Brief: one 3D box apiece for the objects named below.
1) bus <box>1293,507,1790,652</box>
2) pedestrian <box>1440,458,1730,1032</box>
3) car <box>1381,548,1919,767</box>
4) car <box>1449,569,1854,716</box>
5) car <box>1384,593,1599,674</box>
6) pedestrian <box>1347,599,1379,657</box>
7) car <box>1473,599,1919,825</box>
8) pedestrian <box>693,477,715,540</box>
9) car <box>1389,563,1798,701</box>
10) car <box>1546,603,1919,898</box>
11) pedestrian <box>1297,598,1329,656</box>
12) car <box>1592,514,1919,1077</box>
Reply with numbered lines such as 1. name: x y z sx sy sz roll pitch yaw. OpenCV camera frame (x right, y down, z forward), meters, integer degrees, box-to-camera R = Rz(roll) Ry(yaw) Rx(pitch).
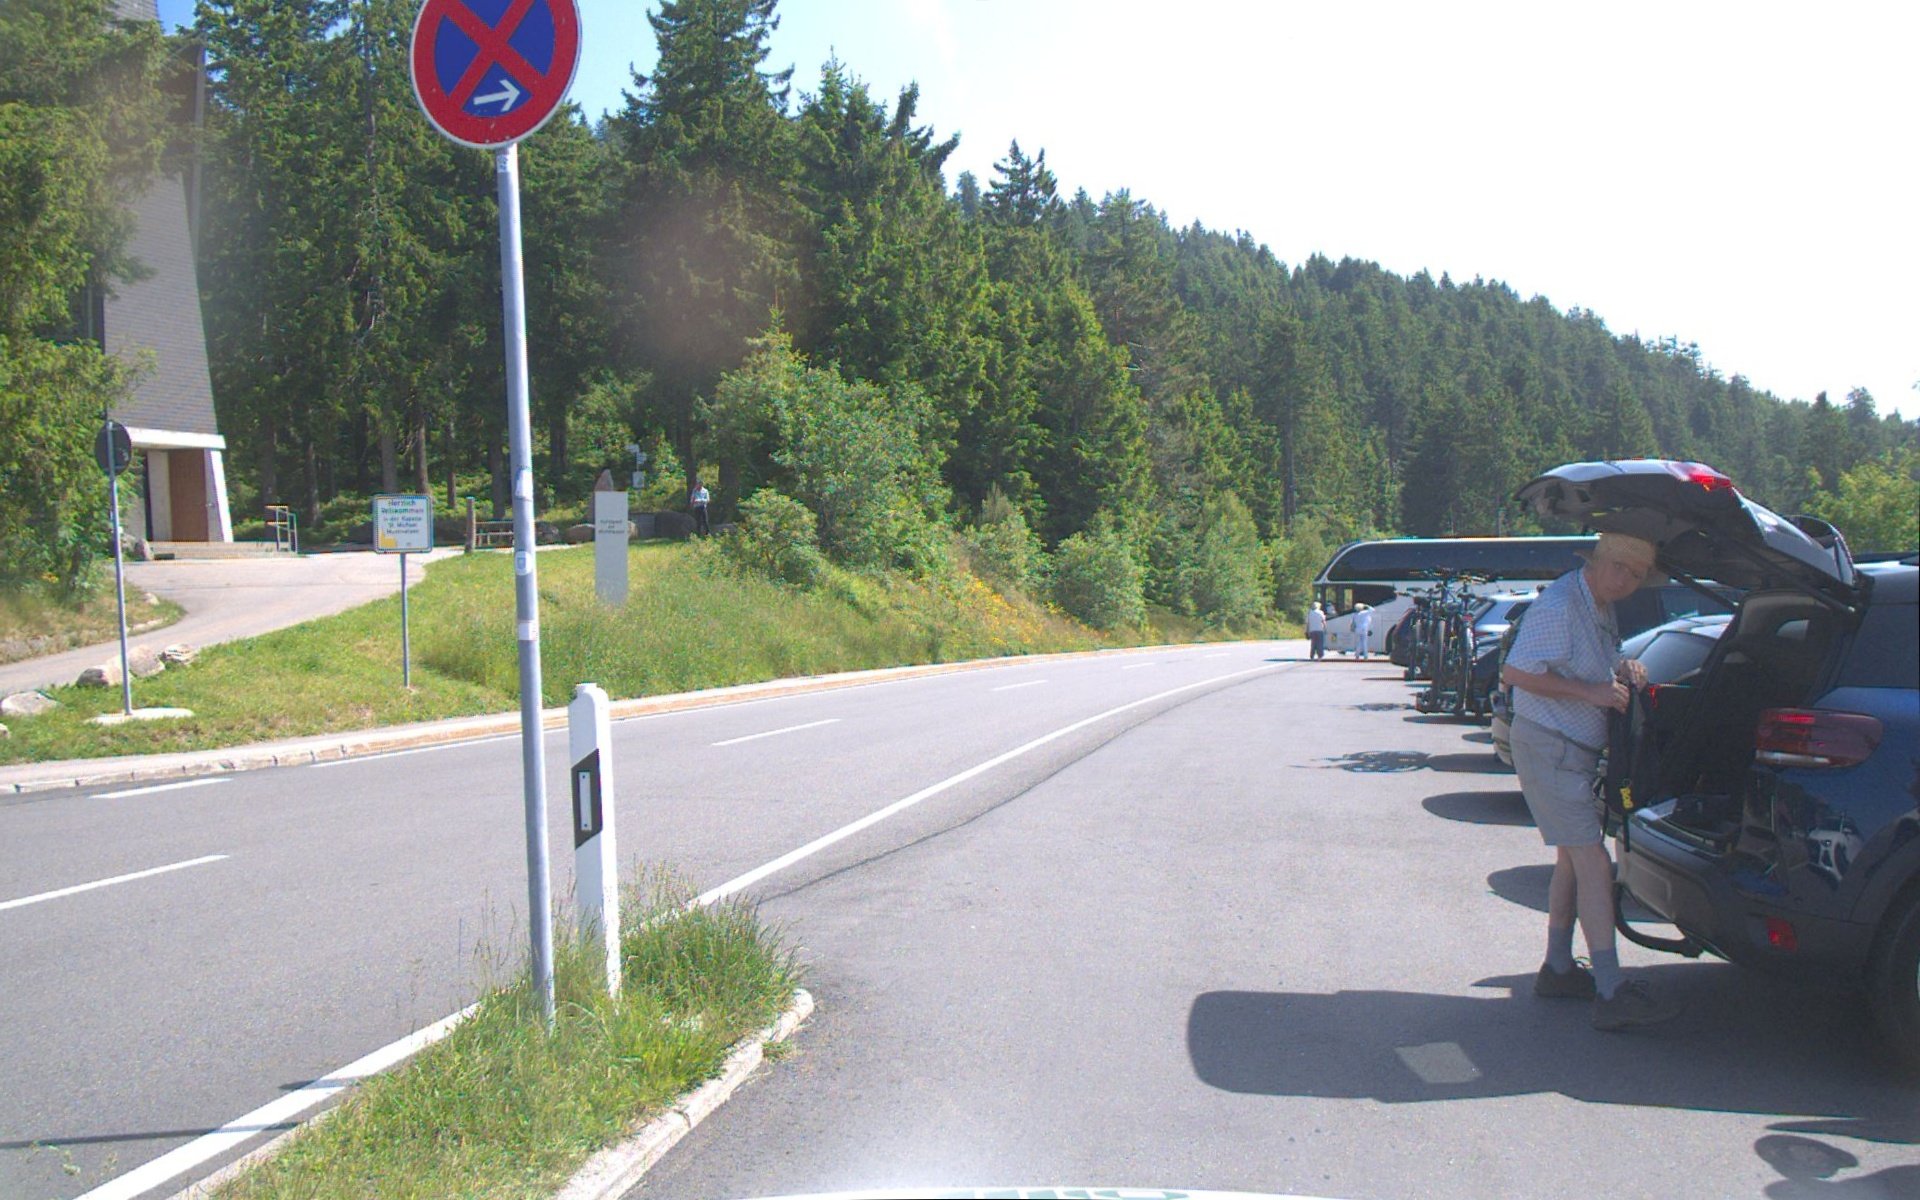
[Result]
1. bus: 16.190 -0.457 46.833 12.830 3.594 3.042 -2 0 24
2. pedestrian: 2.264 0.462 5.993 0.725 1.903 0.753 2 3 44
3. car: 6.196 0.476 14.378 4.844 1.725 1.946 -1 0 16
4. car: 8.027 0.499 19.603 4.153 1.581 1.839 -2 0 14
5. car: 10.478 0.655 32.883 3.902 1.474 1.862 -2 0 14
6. pedestrian: 11.404 0.782 46.785 0.754 1.613 0.772 -2 -1 20
7. car: 5.811 0.738 11.560 3.994 1.400 1.704 1 0 7
8. pedestrian: -8.007 -2.845 51.688 0.529 1.910 0.682 -2 -1 0
9. car: 8.405 0.438 22.455 4.926 1.680 2.049 -2 0 14
10. car: 5.420 0.763 8.830 3.995 1.400 1.703 1 0 4
11. pedestrian: 10.073 0.772 47.200 0.754 1.613 0.772 -2 -1 20
12. car: 4.608 0.668 5.608 4.252 1.654 1.871 2 0 8
